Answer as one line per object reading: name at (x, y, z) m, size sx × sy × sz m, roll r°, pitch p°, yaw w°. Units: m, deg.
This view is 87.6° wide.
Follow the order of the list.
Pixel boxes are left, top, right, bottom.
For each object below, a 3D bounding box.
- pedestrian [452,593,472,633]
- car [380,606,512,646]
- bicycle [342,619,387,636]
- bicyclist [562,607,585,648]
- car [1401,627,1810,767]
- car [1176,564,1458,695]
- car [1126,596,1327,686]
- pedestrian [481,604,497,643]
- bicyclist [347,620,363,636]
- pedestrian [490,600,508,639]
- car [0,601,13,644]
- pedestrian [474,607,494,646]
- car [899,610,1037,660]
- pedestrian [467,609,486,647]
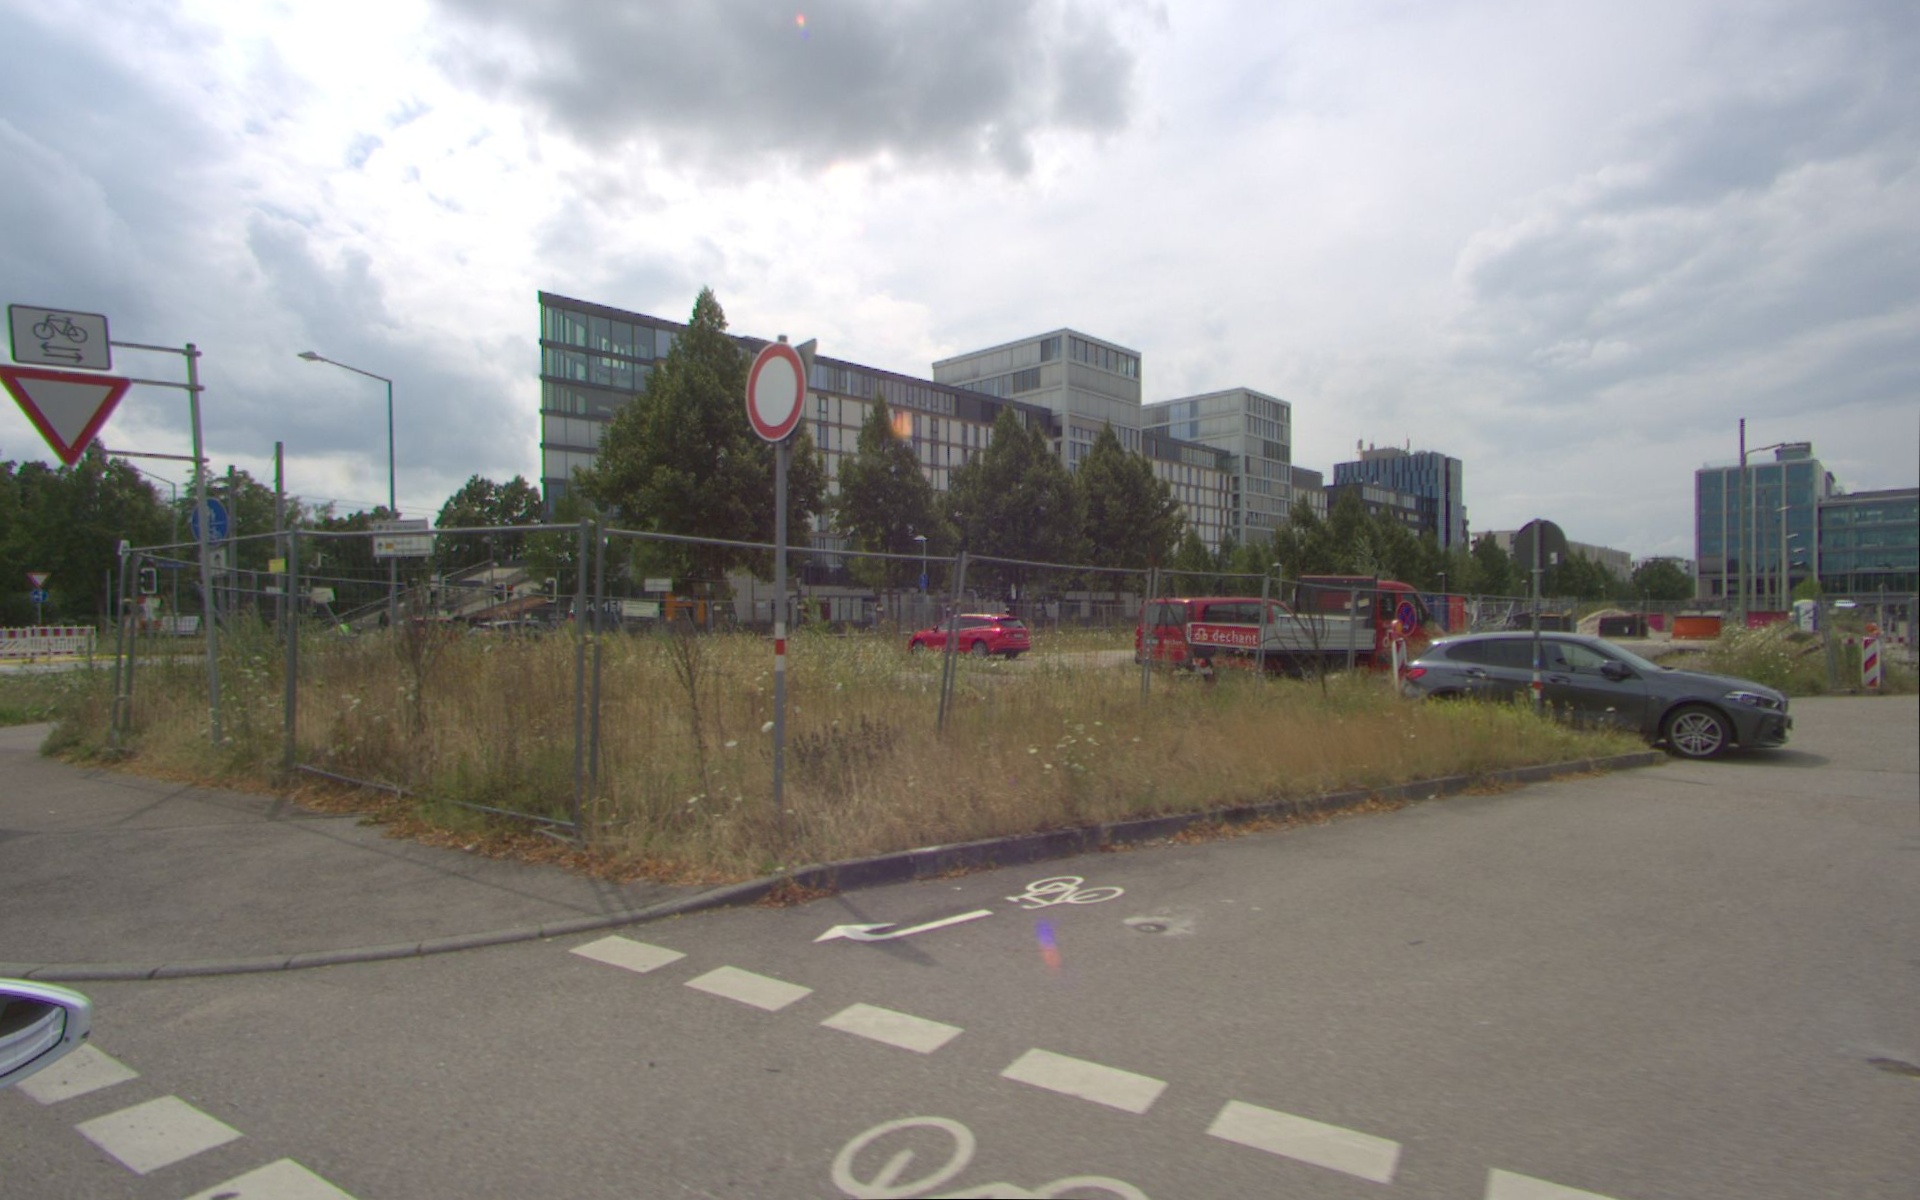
pedestrian at (-23.168, 0.609, 46.565) m, size 0.546 × 1.805 × 0.685 m, roll 0°, pitch 0°, yaw 39°
car at (-22.144, 1.113, 43.286) m, size 1.975 × 1.639 × 4.719 m, roll -1°, pitch -1°, yaw 38°
bicycle at (-34.802, 1.605, 58.577) m, size 2.166 × 0.950 × 0.613 m, roll 0°, pitch -2°, yaw -19°
bicyclist at (-15.940, 1.119, 41.301) m, size 0.777 × 1.648 × 1.047 m, roll 0°, pitch 0°, yaw -17°
car at (8.134, 1.109, 12.897) m, size 4.206 × 1.492 × 1.754 m, roll -1°, pitch -1°, yaw 38°
car at (7.743, 0.589, 21.403) m, size 6.456 × 2.444 × 2.304 m, roll 0°, pitch -1°, yaw -34°
car at (6.488, 0.917, 24.143) m, size 4.924 × 1.936 × 1.923 m, roll 1°, pitch 2°, yaw -35°
pedestrian at (-22.407, 1.116, 47.639) m, size 0.546 × 1.886 × 0.527 m, roll 0°, pitch 0°, yaw 39°
bicyclist at (-35.291, 1.628, 58.410) m, size 0.647 × 0.895 × 0.606 m, roll 0°, pitch -2°, yaw -19°
pedestrian at (-21.737, 0.915, 47.248) m, size 0.546 × 1.805 × 0.576 m, roll 0°, pitch 0°, yaw 39°
car at (-41.425, 0.988, 41.674) m, size 3.943 × 1.772 × 1.990 m, roll -2°, pitch -1°, yaw 32°
pedestrian at (-22.203, 1.251, 46.734) m, size 0.546 × 1.805 × 0.685 m, roll 0°, pitch 0°, yaw 39°
car at (0.220, 1.140, 33.409) m, size 4.473 × 1.553 × 1.777 m, roll -1°, pitch -1°, yaw 38°
pedestrian at (-22.777, 1.309, 47.139) m, size 0.546 × 1.805 × 0.629 m, roll 0°, pitch 0°, yaw 39°
